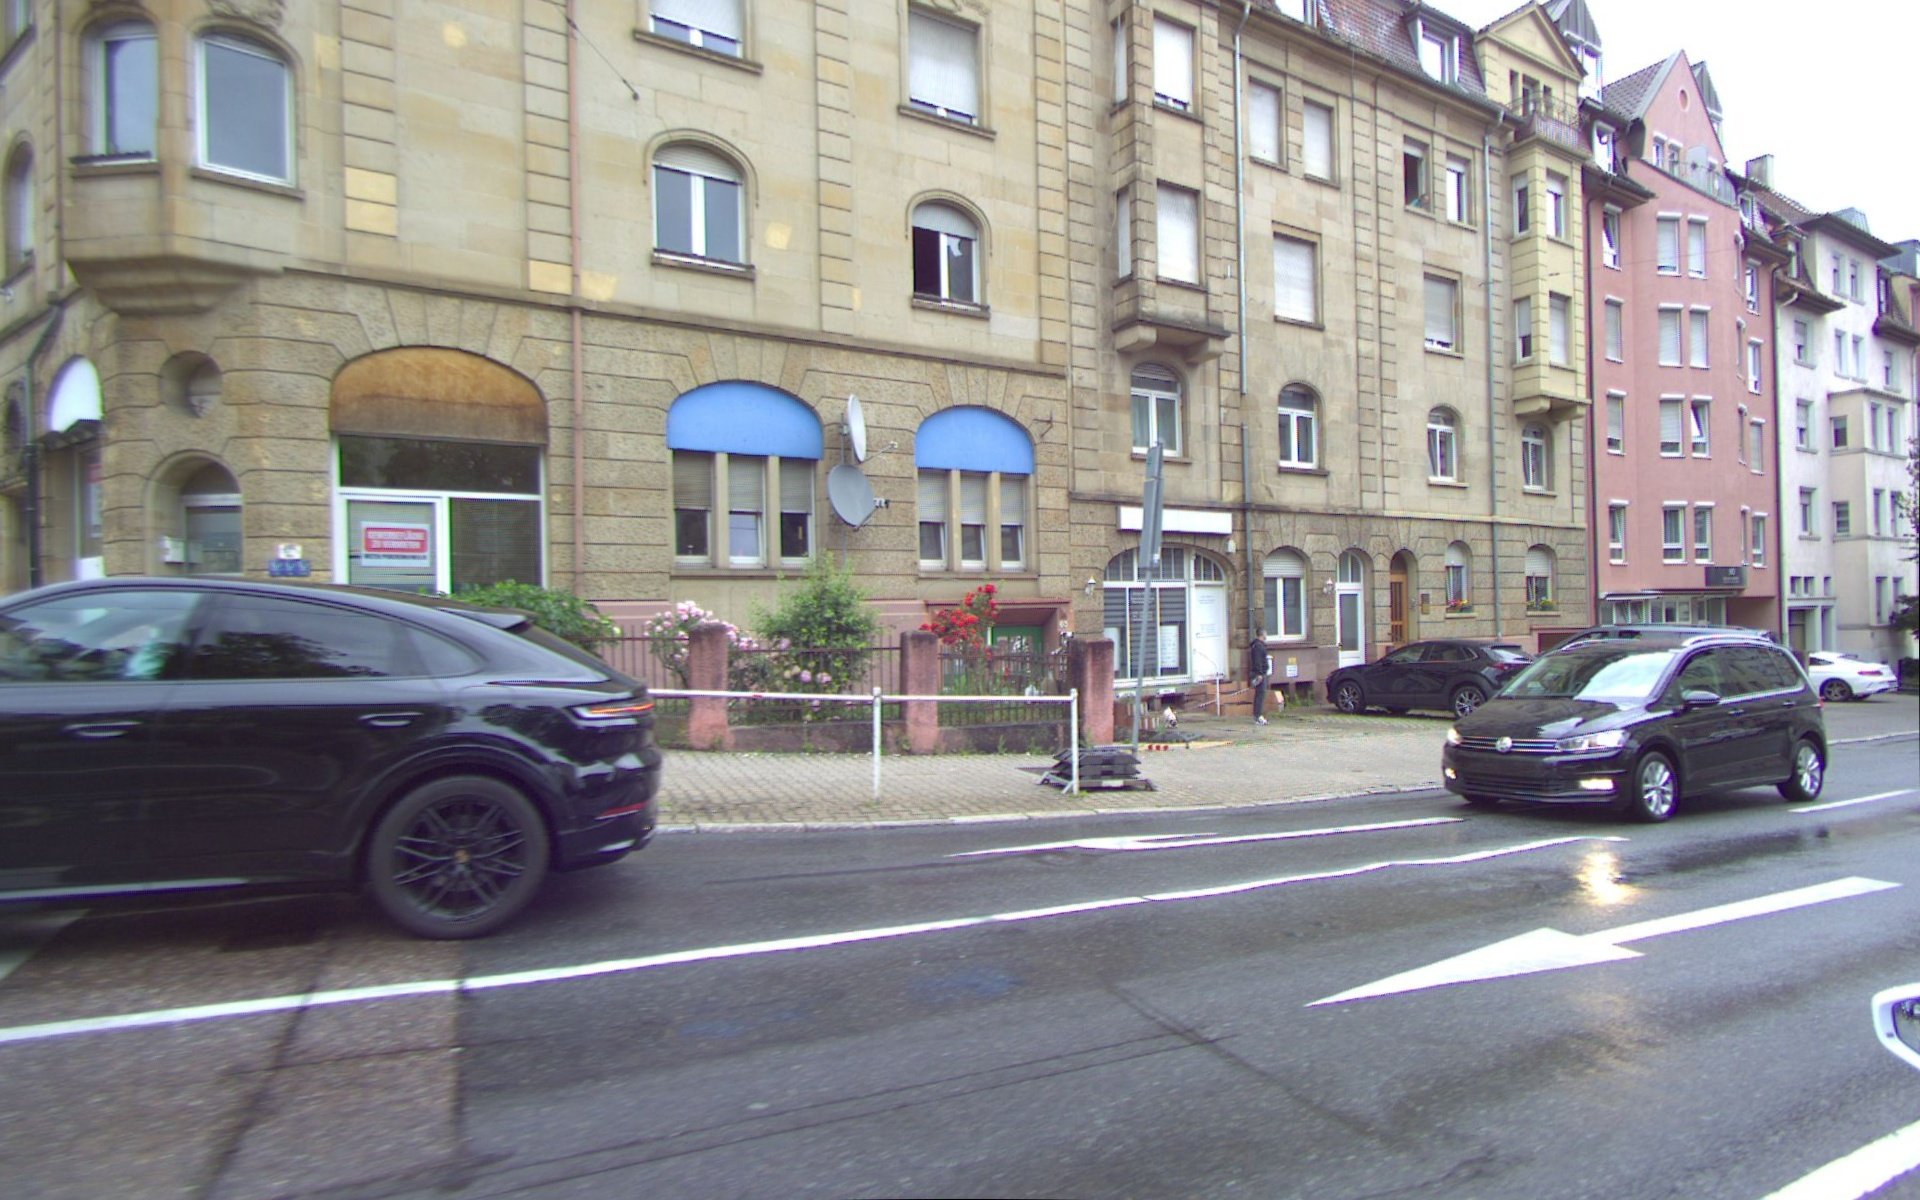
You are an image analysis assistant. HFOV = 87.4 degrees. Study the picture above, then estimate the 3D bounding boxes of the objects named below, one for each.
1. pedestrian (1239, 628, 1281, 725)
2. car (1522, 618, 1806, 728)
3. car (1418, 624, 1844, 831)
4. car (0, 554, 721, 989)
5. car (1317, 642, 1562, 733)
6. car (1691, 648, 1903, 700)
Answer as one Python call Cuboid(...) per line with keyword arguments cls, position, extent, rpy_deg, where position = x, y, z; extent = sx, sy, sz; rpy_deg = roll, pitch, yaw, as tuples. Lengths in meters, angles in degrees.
Cuboid(cls="pedestrian", position=(5.684, 1.440, 19.066), extent=(0.557, 1.801, 0.476), rpy_deg=(1, 0, -23))
Cuboid(cls="car", position=(14.807, 1.434, 21.373), extent=(1.848, 1.964, 4.634), rpy_deg=(2, 0, -40))
Cuboid(cls="car", position=(6.689, 1.164, 9.927), extent=(4.366, 1.670, 1.615), rpy_deg=(2, -5, -29))
Cuboid(cls="car", position=(-3.788, 0.719, 5.052), extent=(4.740, 1.715, 1.960), rpy_deg=(3, -2, -23))
Cuboid(cls="car", position=(9.425, 1.649, 20.081), extent=(1.852, 1.530, 4.127), rpy_deg=(2, -2, -31))
Cuboid(cls="car", position=(24.821, 2.159, 29.964), extent=(1.748, 1.419, 4.525), rpy_deg=(2, -4, -31))
